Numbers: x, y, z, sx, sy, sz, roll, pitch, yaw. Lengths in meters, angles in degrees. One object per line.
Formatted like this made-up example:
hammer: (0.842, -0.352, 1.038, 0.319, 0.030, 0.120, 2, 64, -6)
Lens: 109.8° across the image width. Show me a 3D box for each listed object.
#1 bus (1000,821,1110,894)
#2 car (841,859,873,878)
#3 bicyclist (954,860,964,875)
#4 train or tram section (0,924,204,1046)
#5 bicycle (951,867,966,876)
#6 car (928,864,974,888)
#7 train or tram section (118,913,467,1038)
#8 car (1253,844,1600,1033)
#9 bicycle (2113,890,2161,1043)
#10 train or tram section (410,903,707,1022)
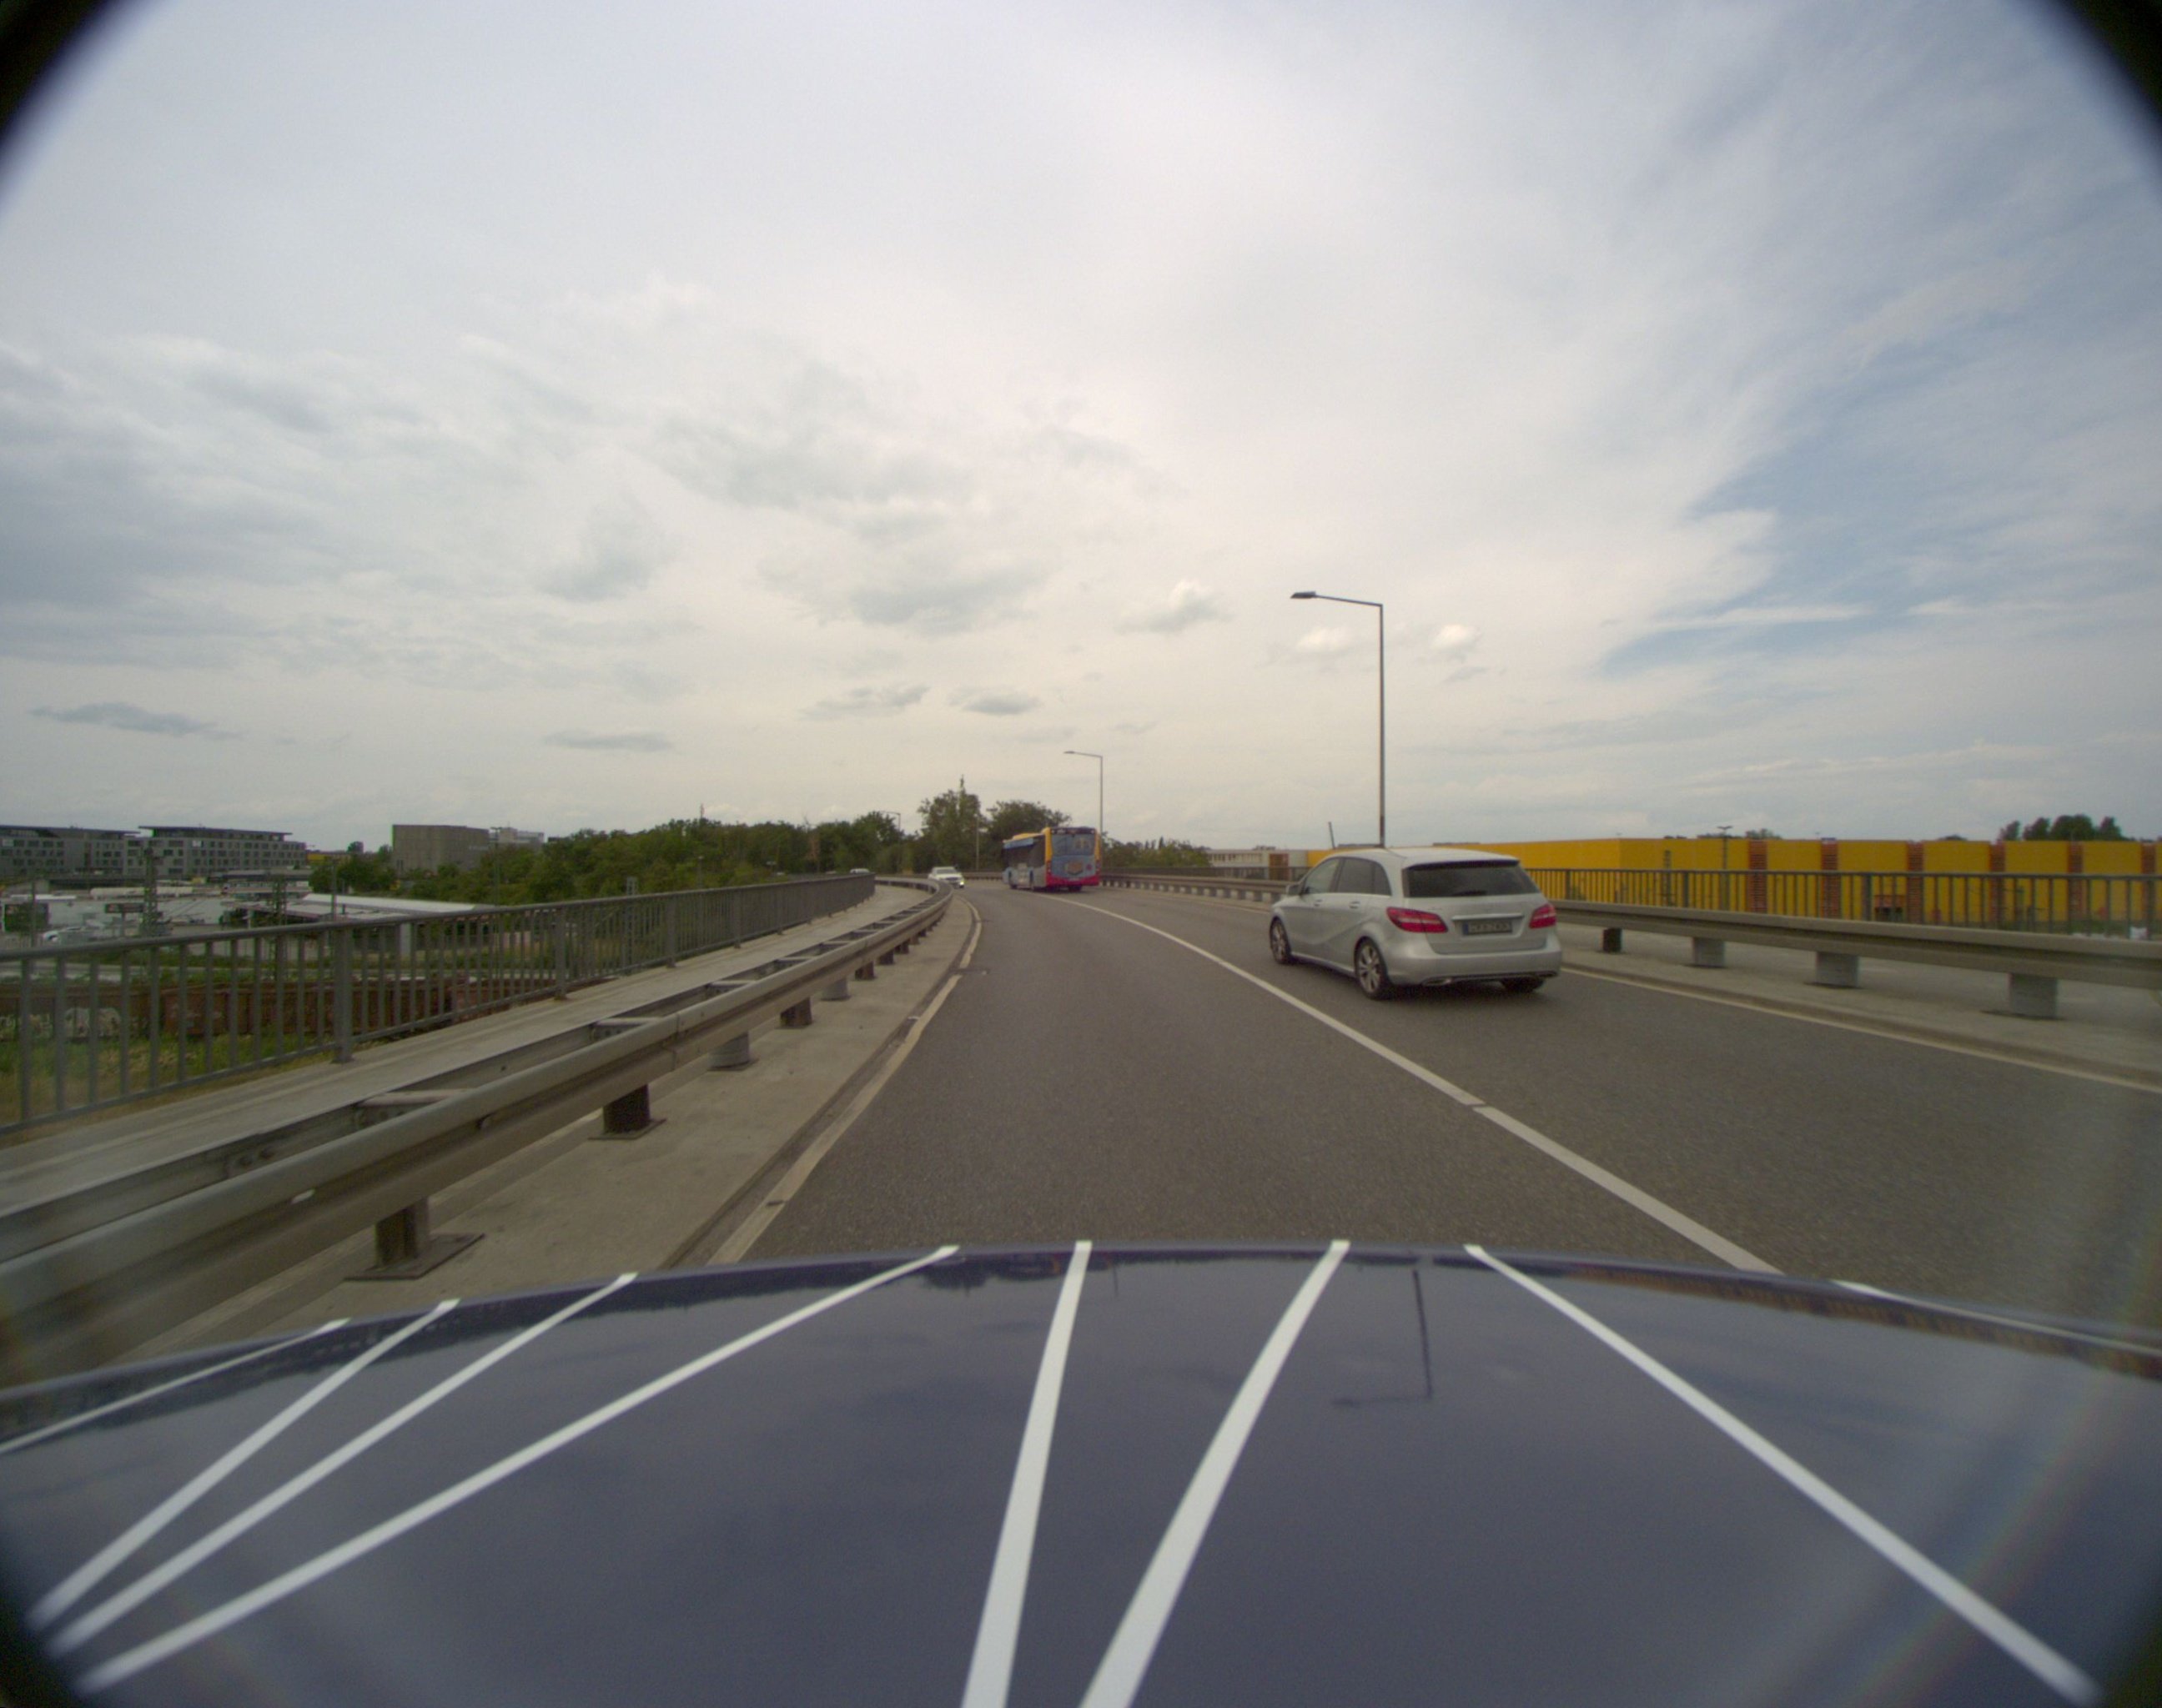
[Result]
bus: (-1.840, 0.174, 41.002, 3.043, 3.214, 12.934, -2, 0, -15)
car: (-23.784, 1.554, 80.545, 1.967, 1.694, 4.422, -3, -1, -34)
bicyclist: (-12.516, 1.376, 77.957, 0.714, 1.436, 0.746, -3, 0, -37)
train or tram section: (-56.971, 7.070, 40.709, 13.906, 5.645, 3.841, -2, 1, -6)
bicycle: (-12.584, 1.822, 78.102, 0.695, 0.793, 1.888, -3, -1, -37)
car: (-8.741, 1.453, 50.950, 1.941, 1.448, 3.878, -3, 0, -26)
train or tram section: (-43.034, 6.525, 42.034, 14.254, 5.566, 3.657, -2, 1, -5)
car: (3.600, 0.748, 8.976, 1.823, 1.611, 4.396, -2, 0, -4)
bicycle: (7.789, 0.790, 4.632, 0.494, 1.039, 1.810, -2, 0, -1)
train or tram section: (-29.162, 5.983, 43.063, 13.647, 5.542, 3.651, -2, 1, -5)
